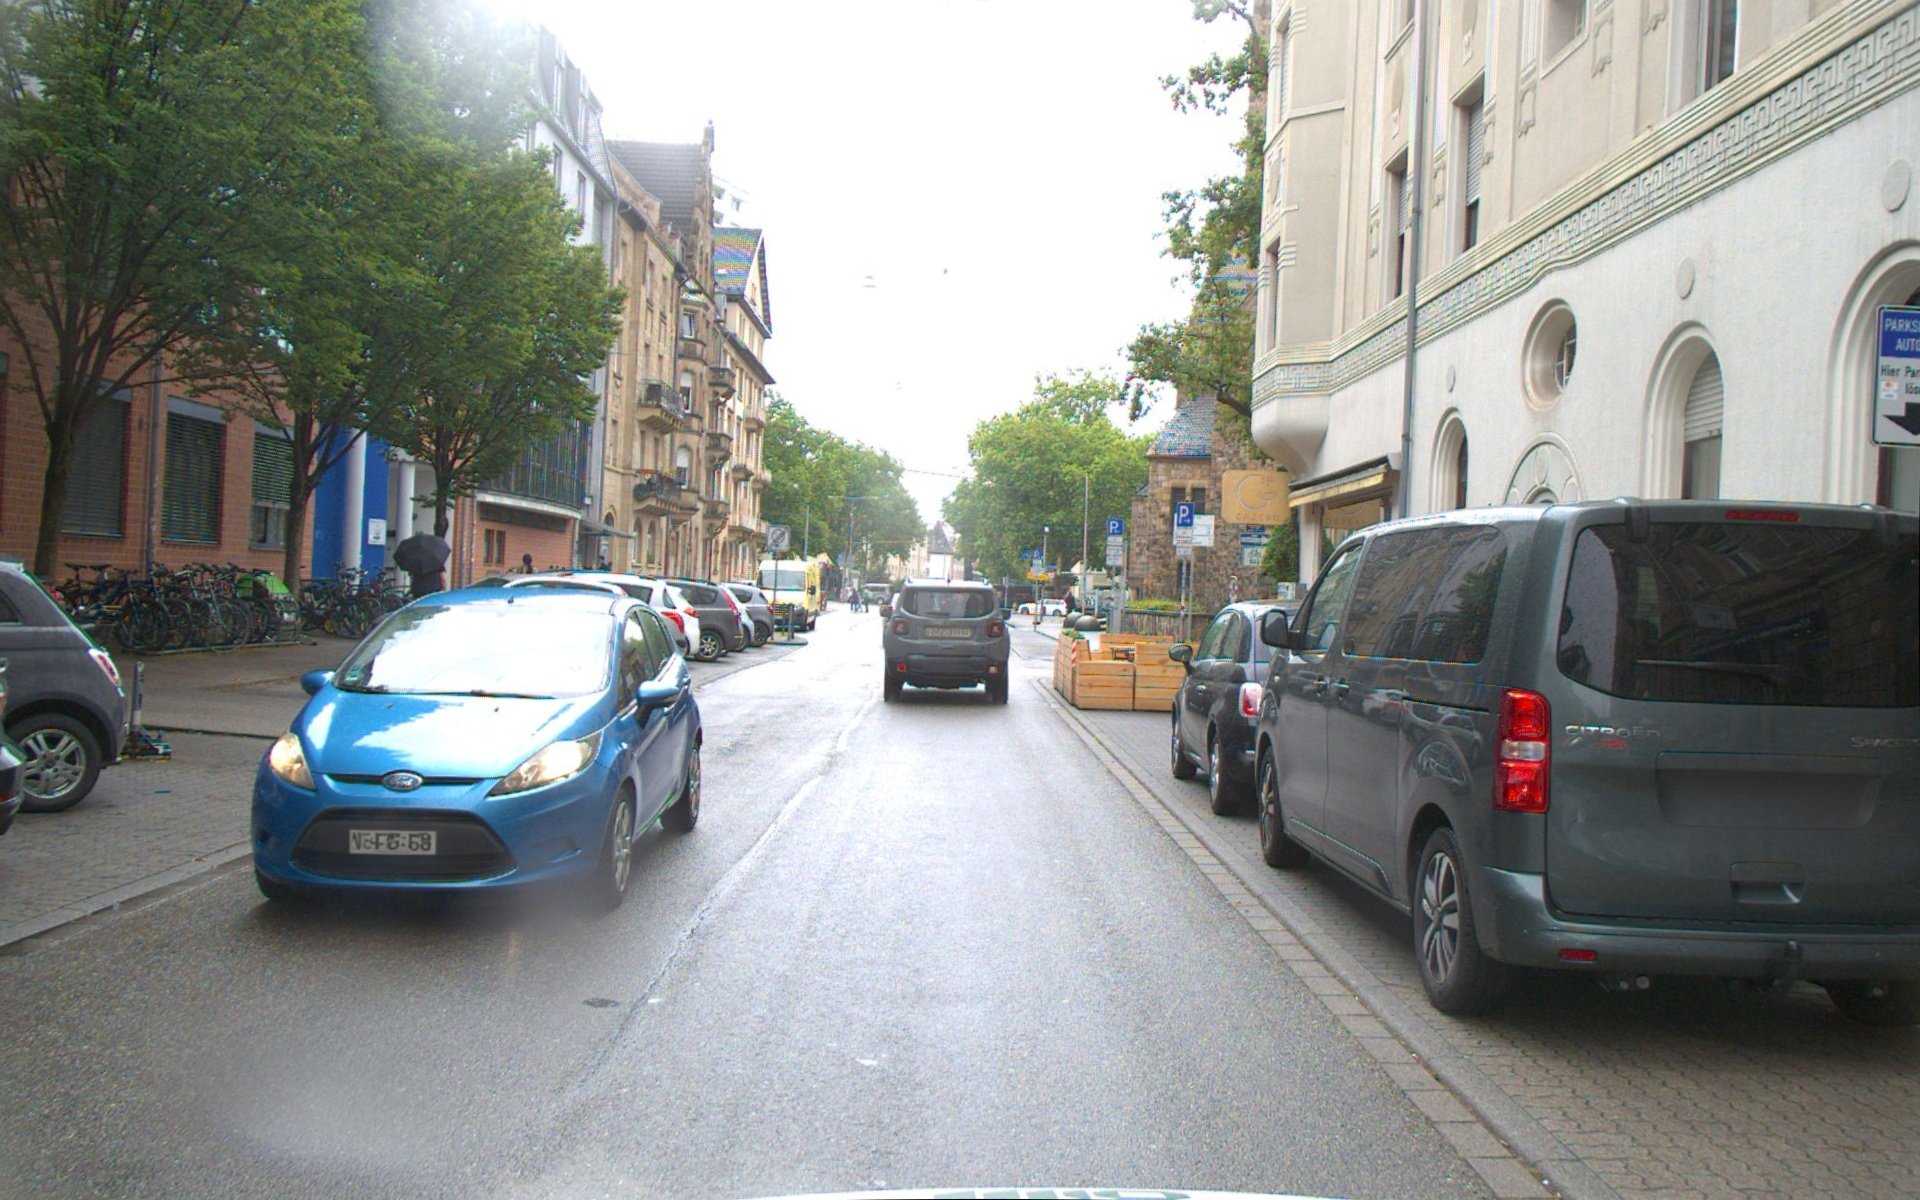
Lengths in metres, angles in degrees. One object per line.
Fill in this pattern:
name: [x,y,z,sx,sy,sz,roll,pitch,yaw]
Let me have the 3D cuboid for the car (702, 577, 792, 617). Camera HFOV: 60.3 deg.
car: [-9.774,-0.145,75.926,3.625,1.585,1.776,4,-1,-37]

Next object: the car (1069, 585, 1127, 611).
car: [13.861,-0.220,166.308,5.781,2.375,2.060,2,0,3]

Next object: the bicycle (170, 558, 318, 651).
bicycle: [-10.804,0.066,24.981,1.859,1.172,0.553,7,0,-3]

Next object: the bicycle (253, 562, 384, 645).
bicycle: [-10.785,0.059,27.856,1.859,1.172,0.553,7,0,-3]

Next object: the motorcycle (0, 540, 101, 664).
motorcycle: [-10.791,-0.028,18.561,1.844,1.246,0.657,7,0,3]

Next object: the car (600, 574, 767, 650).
car: [-6.306,0.278,37.774,3.341,1.533,1.663,3,0,-31]

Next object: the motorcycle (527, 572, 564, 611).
motorcycle: [-13.500,-0.288,53.926,0.739,1.194,2.114,5,0,-4]

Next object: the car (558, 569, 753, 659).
car: [-5.923,0.277,32.230,3.342,1.568,1.663,3,0,-32]

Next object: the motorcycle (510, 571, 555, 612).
motorcycle: [-13.367,-0.251,51.776,0.738,1.194,2.115,5,0,0]

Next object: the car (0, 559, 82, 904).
car: [-6.011,0.453,6.755,3.943,1.472,1.742,4,0,-41]

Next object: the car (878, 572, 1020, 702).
car: [-0.206,0.502,24.631,1.860,1.700,4.504,2,0,-2]

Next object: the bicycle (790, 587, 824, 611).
bicycle: [-9.711,-0.051,104.800,2.062,1.469,0.487,2,0,-21]

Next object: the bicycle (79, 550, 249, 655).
bicycle: [-10.592,0.033,22.054,1.859,1.172,0.553,7,0,-3]

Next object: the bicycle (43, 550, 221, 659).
bicycle: [-10.609,0.057,21.230,1.859,1.172,0.553,7,0,-3]

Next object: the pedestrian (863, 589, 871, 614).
pedestrian: [-6.164,0.111,109.859,0.458,1.613,0.752,2,0,-2]

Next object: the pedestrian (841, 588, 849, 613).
pedestrian: [-7.541,0.013,108.590,0.458,1.613,0.659,2,0,-2]

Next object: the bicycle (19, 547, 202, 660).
bicycle: [-10.619,0.040,20.699,1.859,1.172,0.553,7,0,-3]

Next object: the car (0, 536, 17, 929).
car: [-2.360,0.654,0.770,1.636,1.586,4.001,2,0,-3]

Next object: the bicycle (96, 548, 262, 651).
bicycle: [-10.651,-0.001,22.588,1.859,1.172,0.553,7,0,-3]

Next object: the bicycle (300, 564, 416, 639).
bicycle: [-11.321,0.028,31.151,1.859,1.172,0.553,7,0,-3]

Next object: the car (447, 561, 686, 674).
car: [-6.233,0.277,26.266,3.345,1.683,1.615,1,0,-34]

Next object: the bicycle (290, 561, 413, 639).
bicycle: [-10.863,-0.001,29.557,1.859,1.172,0.553,7,0,-3]

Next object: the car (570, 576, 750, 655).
car: [-6.346,0.339,35.085,3.346,1.483,1.661,3,0,-34]

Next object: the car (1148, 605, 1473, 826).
car: [2.568,0.783,12.967,1.675,1.425,3.704,1,0,-1]

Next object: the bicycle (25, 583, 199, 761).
bicycle: [-6.513,0.509,12.821,0.736,1.178,2.211,3,1,-16]

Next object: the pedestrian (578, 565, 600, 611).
pedestrian: [-14.069,-0.458,62.740,0.652,1.704,0.791,2,0,-24]

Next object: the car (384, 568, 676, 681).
car: [-6.093,0.343,23.556,3.672,1.477,1.664,1,0,-36]

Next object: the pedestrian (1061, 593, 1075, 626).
pedestrian: [5.827,0.511,89.568,0.676,1.741,0.684,2,0,0]

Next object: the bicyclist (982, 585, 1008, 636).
bicyclist: [1.030,0.299,48.388,0.690,1.428,1.171,2,0,0]

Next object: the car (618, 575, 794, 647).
car: [-6.228,0.271,40.559,3.780,1.533,1.968,3,0,-31]

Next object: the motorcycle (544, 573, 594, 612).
motorcycle: [-13.252,-0.241,56.053,0.737,1.194,2.117,5,0,11]

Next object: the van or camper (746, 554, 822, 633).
van or camper: [-6.344,-0.152,60.219,2.078,2.575,6.872,-1,-2,-1]

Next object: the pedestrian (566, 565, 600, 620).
pedestrian: [-11.207,-0.227,49.192,0.694,1.578,0.608,5,0,6]

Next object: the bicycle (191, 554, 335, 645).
bicycle: [-10.779,-0.010,25.607,1.859,1.172,0.553,7,0,-3]

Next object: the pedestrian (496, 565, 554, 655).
pedestrian: [-8.969,0.200,34.160,0.808,1.782,0.757,5,0,6]

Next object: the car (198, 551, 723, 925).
car: [-2.344,0.571,8.835,1.636,1.491,4.002,2,0,-2]

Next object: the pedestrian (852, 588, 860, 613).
pedestrian: [-6.856,0.030,109.270,0.458,1.613,0.752,2,0,-2]

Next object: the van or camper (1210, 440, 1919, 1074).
van or camper: [2.576,0.481,7.630,1.980,1.924,5.054,1,0,-1]

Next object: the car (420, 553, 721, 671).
car: [-6.720,0.222,28.644,4.470,1.566,2.311,7,-3,-34]

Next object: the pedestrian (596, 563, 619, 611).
pedestrian: [-13.447,-0.509,63.040,0.652,1.788,0.791,2,0,-24]

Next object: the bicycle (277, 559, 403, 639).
bicycle: [-10.808,-0.020,28.846,1.859,1.172,0.553,7,0,-3]

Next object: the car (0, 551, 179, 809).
car: [-6.549,0.421,9.440,3.452,1.460,1.625,1,0,-43]

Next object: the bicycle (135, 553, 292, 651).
bicycle: [-10.648,0.030,23.619,1.859,1.172,0.553,7,0,-3]

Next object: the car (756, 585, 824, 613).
car: [-9.685,-0.067,94.389,3.383,1.339,1.758,4,-1,-34]

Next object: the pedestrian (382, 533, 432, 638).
pedestrian: [-9.369,-0.234,28.036,0.599,1.737,0.433,2,-2,0]

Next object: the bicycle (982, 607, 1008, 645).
bicycle: [1.014,0.753,48.387,0.690,1.072,1.812,2,0,0]

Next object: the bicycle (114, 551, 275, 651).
bicycle: [-10.698,0.014,23.145,1.859,1.172,0.553,7,0,-3]
